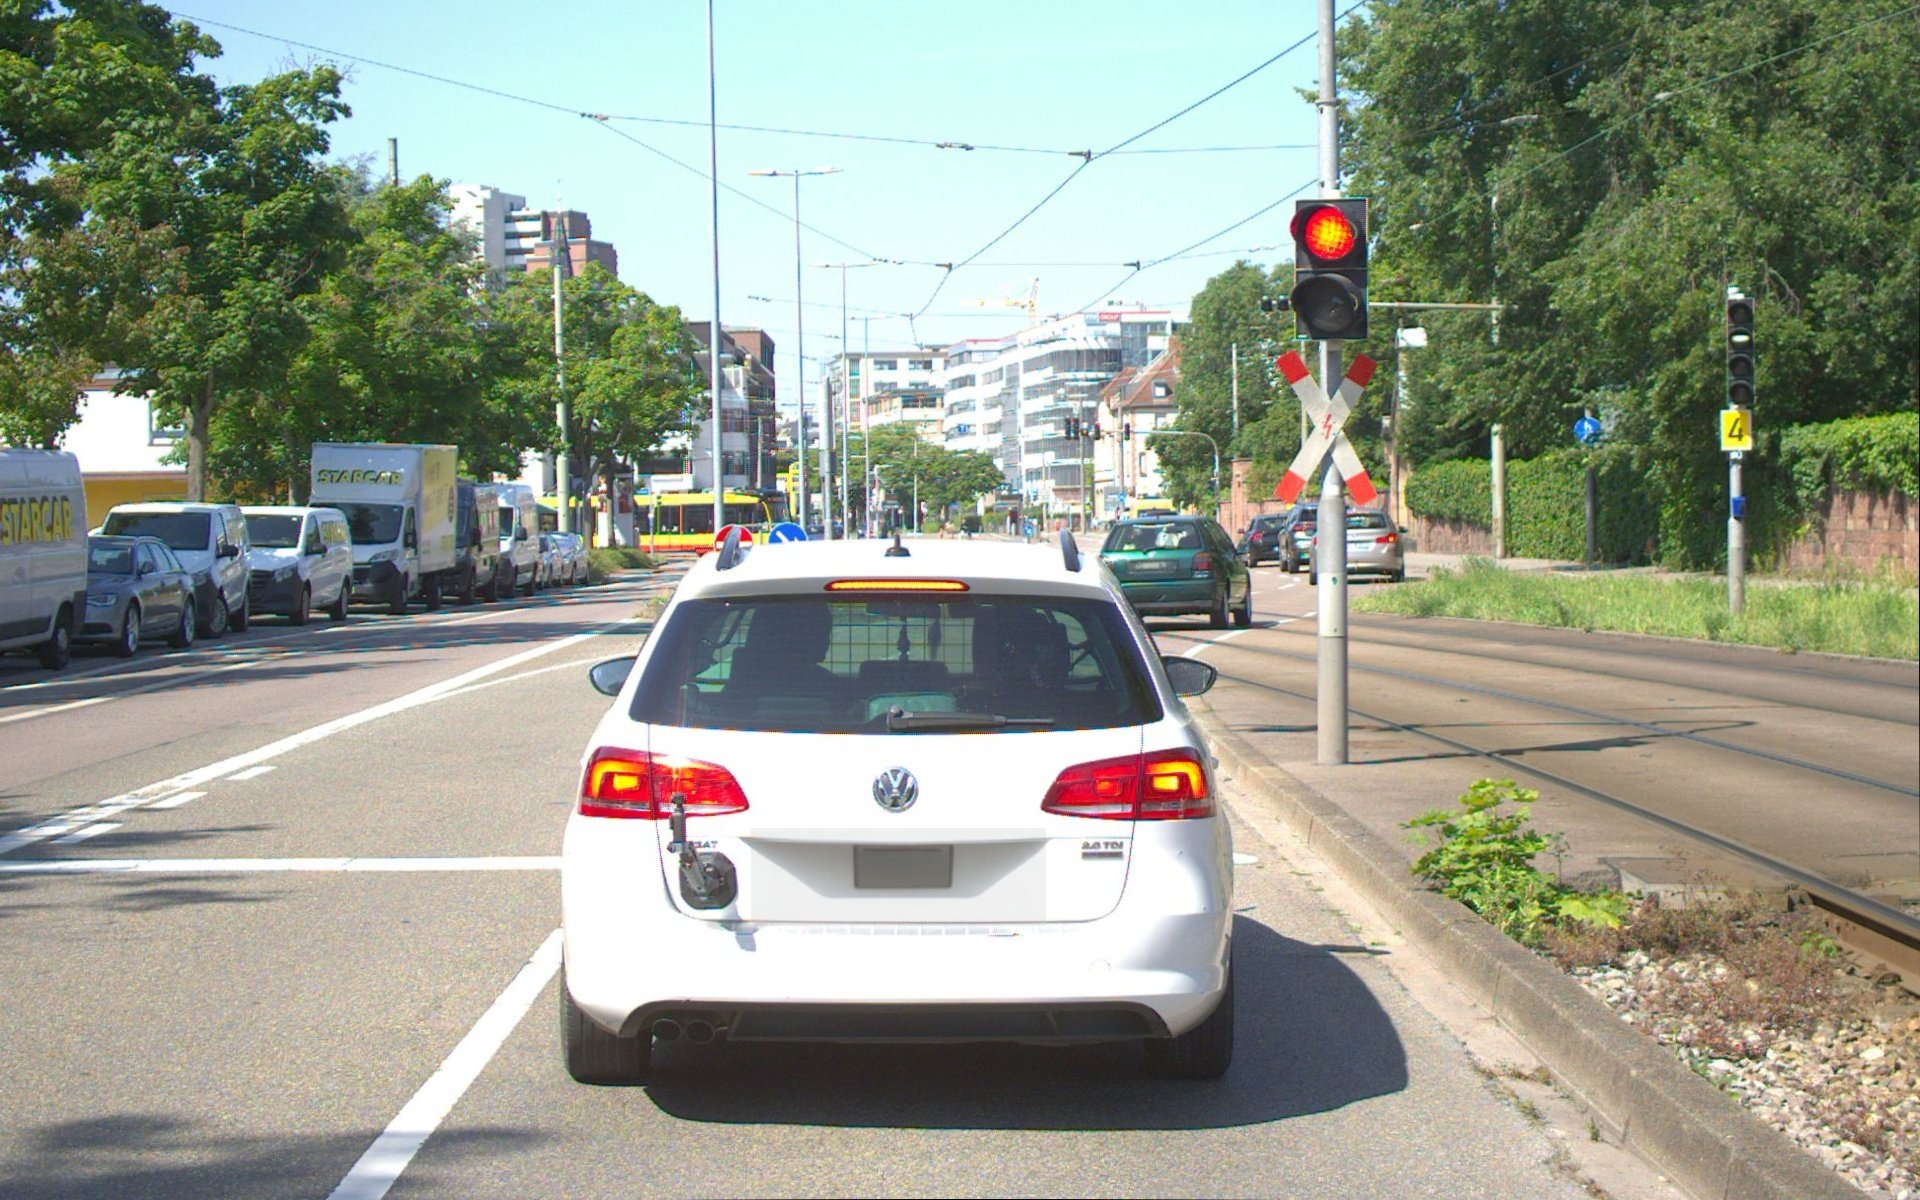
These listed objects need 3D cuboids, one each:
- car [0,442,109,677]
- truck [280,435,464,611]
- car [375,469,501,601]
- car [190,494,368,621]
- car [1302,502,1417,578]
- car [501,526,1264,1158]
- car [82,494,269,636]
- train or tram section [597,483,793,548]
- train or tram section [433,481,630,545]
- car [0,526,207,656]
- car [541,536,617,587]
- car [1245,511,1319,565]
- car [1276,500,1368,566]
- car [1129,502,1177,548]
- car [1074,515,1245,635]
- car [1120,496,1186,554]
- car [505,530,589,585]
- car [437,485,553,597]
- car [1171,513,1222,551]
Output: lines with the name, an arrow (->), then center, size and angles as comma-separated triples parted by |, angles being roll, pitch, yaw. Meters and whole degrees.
car -> -11.124, -0.475, 37.071 | 2.059, 2.492, 6.307 | 2, 2, 2
truck -> -11.035, -1.470, 65.060 | 2.356, 3.112, 6.892 | -1, 1, -1
car -> -10.986, -1.397, 72.694 | 1.843, 2.659, 5.003 | -1, 1, 0
car -> -11.134, -0.726, 56.555 | 1.843, 1.954, 5.134 | -1, 1, 0
car -> 7.936, -1.194, 67.991 | 1.862, 1.412, 4.323 | 1, 1, 11
car -> -0.224, 0.531, 10.043 | 1.768, 1.441, 3.913 | 1, 1, -1
car -> -11.358, -0.543, 50.072 | 1.843, 1.930, 5.195 | -1, 1, -4
train or tram section -> -13.964, -4.448, 180.152 | 11.260, 3.241, 2.304 | 2, 1, 35
train or tram section -> -23.102, -4.703, 185.193 | 10.785, 3.241, 2.306 | 1, 1, 23
car -> -10.884, -0.149, 43.355 | 1.843, 1.511, 4.197 | -1, 1, 0
car -> -11.185, -1.147, 101.186 | 1.780, 1.428, 4.038 | -1, 1, 0
car -> 8.820, -1.717, 94.381 | 1.746, 1.402, 3.913 | 1, 1, 2
car -> 8.650, -1.613, 82.401 | 1.861, 1.507, 3.913 | 1, 1, 2
car -> 7.926, -3.078, 141.200 | 1.691, 1.806, 3.454 | 1, 1, -1
car -> 2.498, -0.339, 42.200 | 1.746, 1.383, 3.912 | 1, 1, 8
car -> 8.521, -3.301, 152.409 | 2.463, 2.490, 5.910 | 1, 1, -1
car -> -11.482, -1.204, 95.802 | 1.843, 1.428, 4.038 | -1, 1, 0
car -> -10.814, -1.392, 80.339 | 1.843, 2.486, 5.857 | -1, 1, 0
car -> 8.628, -2.469, 125.614 | 1.581, 1.341, 3.454 | 1, 1, -1
